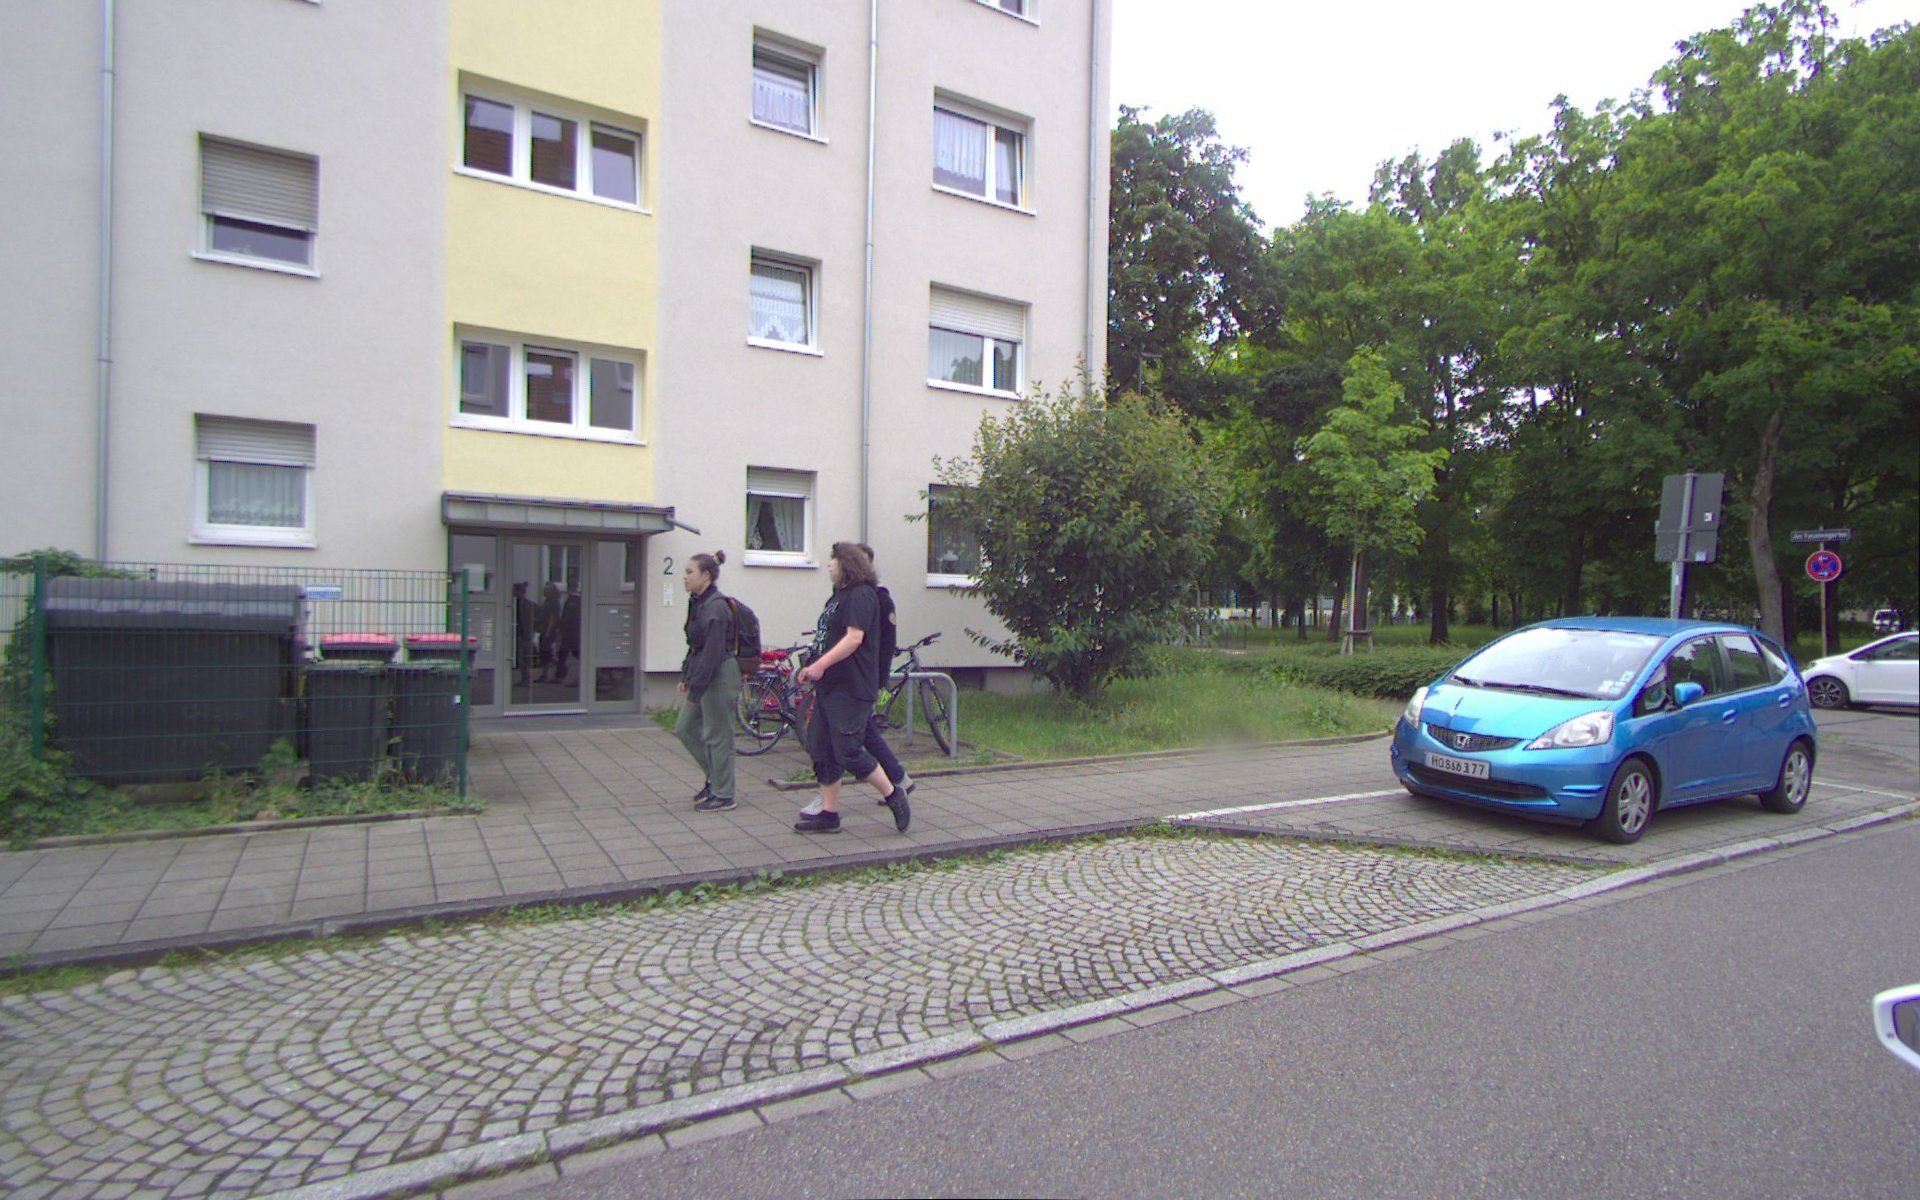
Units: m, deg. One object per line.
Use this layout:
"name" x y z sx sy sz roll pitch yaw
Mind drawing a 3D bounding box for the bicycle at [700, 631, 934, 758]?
"bicycle" -1.347 0.861 9.680 2.149 1.085 0.654 1 0 -30

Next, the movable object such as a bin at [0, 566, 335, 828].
"movable object such as a bin" -5.083 0.535 6.561 1.652 1.440 1.581 1 0 -31

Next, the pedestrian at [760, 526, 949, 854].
"pedestrian" -0.667 0.515 6.284 0.963 1.889 0.637 1 2 -31

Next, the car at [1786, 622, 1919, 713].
"car" 16.457 1.142 17.010 1.549 1.456 3.514 1 0 -31

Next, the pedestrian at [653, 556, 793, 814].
"pedestrian" -1.659 0.557 7.009 0.794 1.679 0.611 1 0 -31

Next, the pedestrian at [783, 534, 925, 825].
"pedestrian" -0.745 0.518 6.986 0.754 1.879 0.703 1 0 -30

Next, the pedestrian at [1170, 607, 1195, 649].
"pedestrian" 8.674 1.091 39.191 0.648 1.604 0.693 0 0 -28

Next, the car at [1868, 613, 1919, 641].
"car" 57.436 1.652 61.487 3.959 1.639 1.906 1 -1 -34

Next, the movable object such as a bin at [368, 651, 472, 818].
"movable object such as a bin" -3.688 0.886 6.853 0.591 1.047 0.534 0 0 -32

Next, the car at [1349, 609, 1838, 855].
"car" 5.179 0.876 8.120 3.911 1.482 1.721 1 2 -31

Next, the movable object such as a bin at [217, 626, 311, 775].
"movable object such as a bin" -5.692 0.785 8.253 0.591 1.131 0.837 0 0 -32

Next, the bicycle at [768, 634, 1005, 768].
"bicycle" -0.645 0.872 9.214 2.096 1.082 0.654 1 0 -30

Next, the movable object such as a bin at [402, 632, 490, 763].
"movable object such as a bin" -4.564 0.831 8.905 0.627 1.065 0.859 0 0 -32

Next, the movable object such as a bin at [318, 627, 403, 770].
"movable object such as a bin" -5.141 0.809 8.611 0.591 1.131 0.837 0 0 -32

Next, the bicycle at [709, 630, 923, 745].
"bicycle" -1.485 0.868 10.547 2.149 1.085 0.654 1 0 -30
